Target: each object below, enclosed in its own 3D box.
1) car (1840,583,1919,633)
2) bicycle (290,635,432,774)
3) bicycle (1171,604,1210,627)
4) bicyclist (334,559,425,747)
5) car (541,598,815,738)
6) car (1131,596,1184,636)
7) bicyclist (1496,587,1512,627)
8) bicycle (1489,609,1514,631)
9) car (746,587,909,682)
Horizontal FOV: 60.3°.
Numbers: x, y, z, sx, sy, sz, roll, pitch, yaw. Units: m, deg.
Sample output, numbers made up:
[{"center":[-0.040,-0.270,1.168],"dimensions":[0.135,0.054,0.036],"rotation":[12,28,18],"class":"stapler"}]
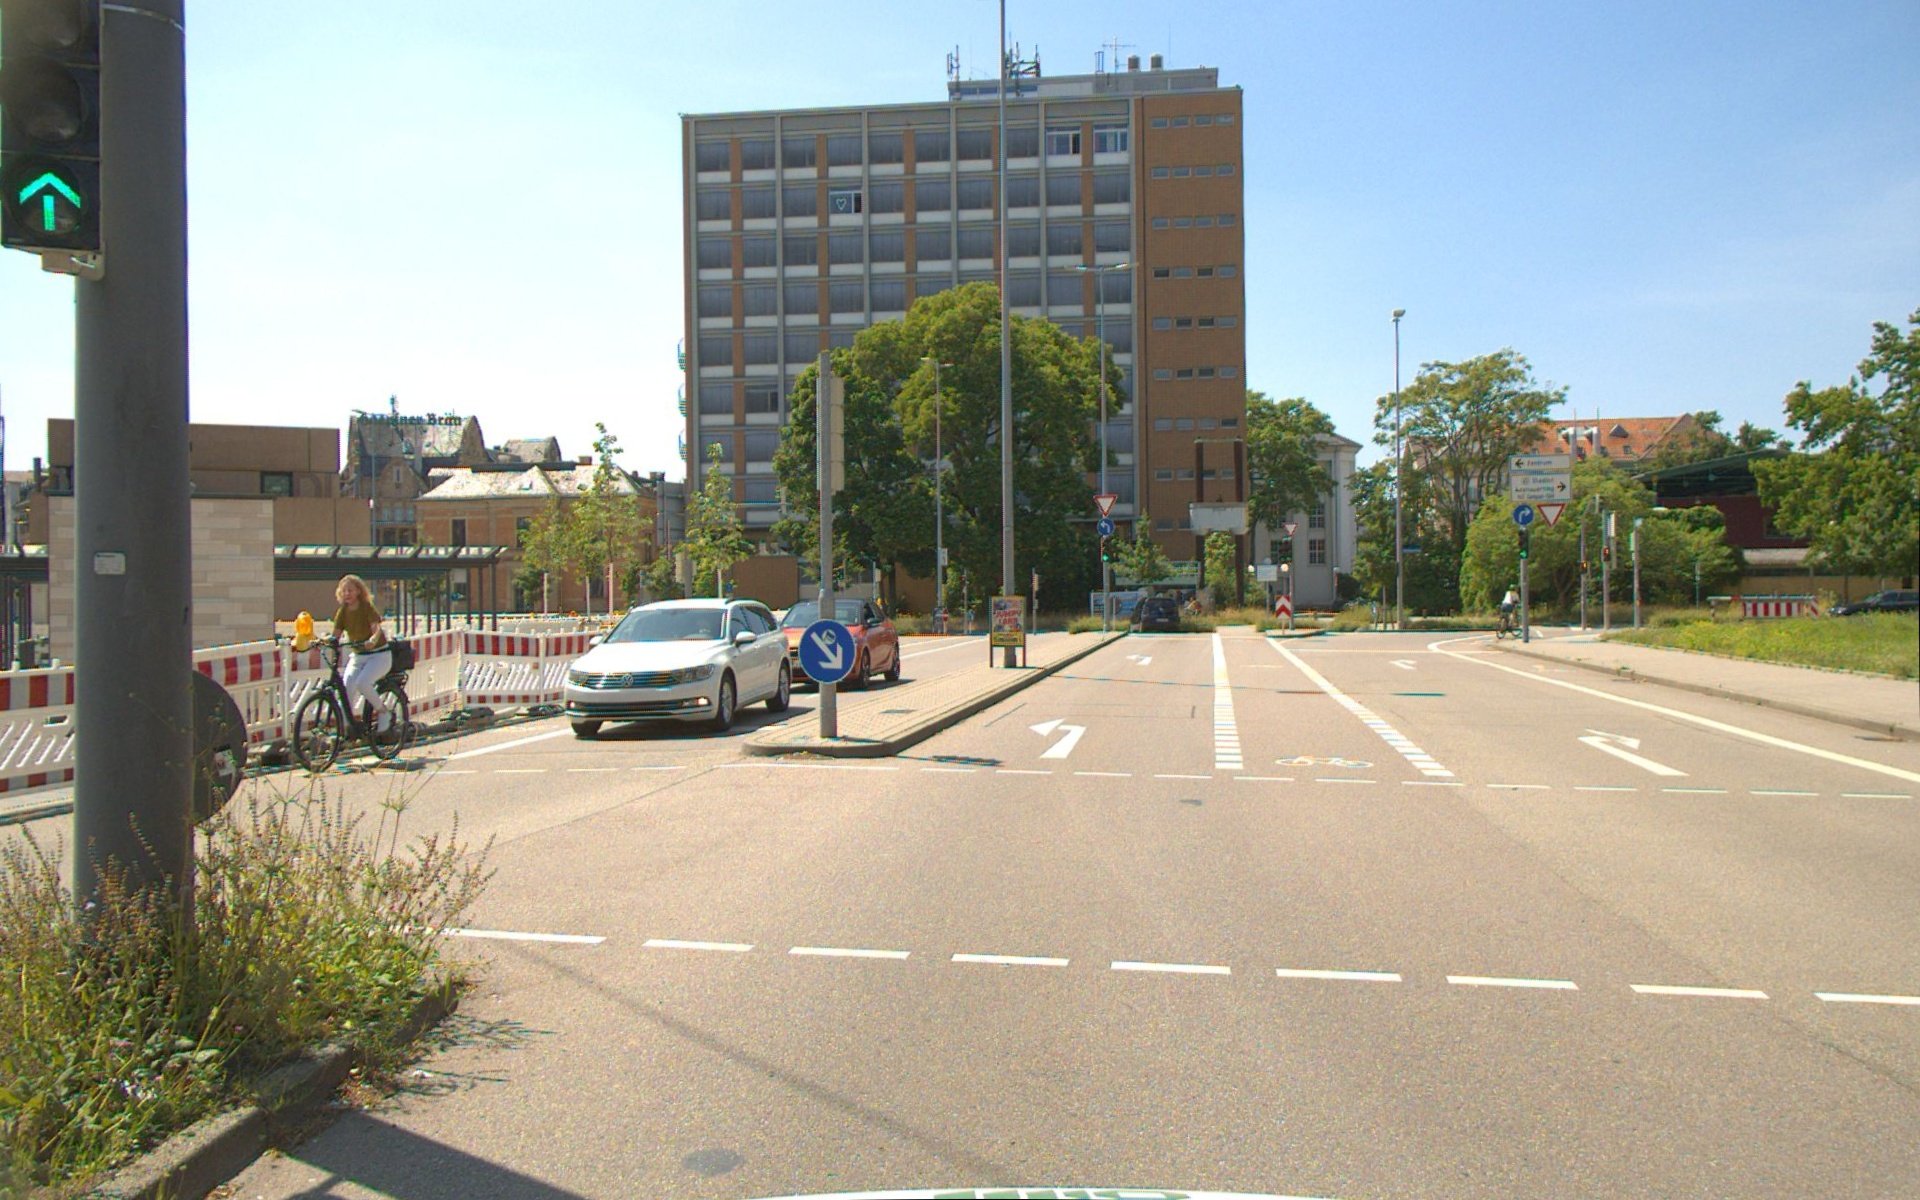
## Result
[{"center":[39.785,0.343,70.297],"dimensions":[3.901,2.049,1.471],"rotation":[-1,-1,11],"class":"car"},{"center":[-5.640,0.955,15.674],"dimensions":[0.389,1.194,1.772],"rotation":[-1,0,11],"class":"bicycle"},{"center":[12.202,0.812,87.537],"dimensions":[1.965,1.155,0.574],"rotation":[-1,-1,20],"class":"bicycle"},{"center":[-5.587,0.504,15.929],"dimensions":[0.555,1.749,0.507],"rotation":[-3,-1,15],"class":"bicyclist"},{"center":[-3.233,0.753,20.042],"dimensions":[1.951,1.463,4.709],"rotation":[-1,-1,8],"class":"car"},{"center":[7.959,0.629,66.874],"dimensions":[1.654,1.553,3.689],"rotation":[-1,0,-1],"class":"car"},{"center":[17.433,0.228,53.006],"dimensions":[0.345,1.249,0.563],"rotation":[-1,0,31],"class":"bicyclist"},{"center":[17.323,0.629,52.885],"dimensions":[0.370,0.657,1.641],"rotation":[-1,0,31],"class":"bicycle"},{"center":[-2.131,0.557,27.785],"dimensions":[1.694,1.450,4.127],"rotation":[-1,-1,11],"class":"car"}]
